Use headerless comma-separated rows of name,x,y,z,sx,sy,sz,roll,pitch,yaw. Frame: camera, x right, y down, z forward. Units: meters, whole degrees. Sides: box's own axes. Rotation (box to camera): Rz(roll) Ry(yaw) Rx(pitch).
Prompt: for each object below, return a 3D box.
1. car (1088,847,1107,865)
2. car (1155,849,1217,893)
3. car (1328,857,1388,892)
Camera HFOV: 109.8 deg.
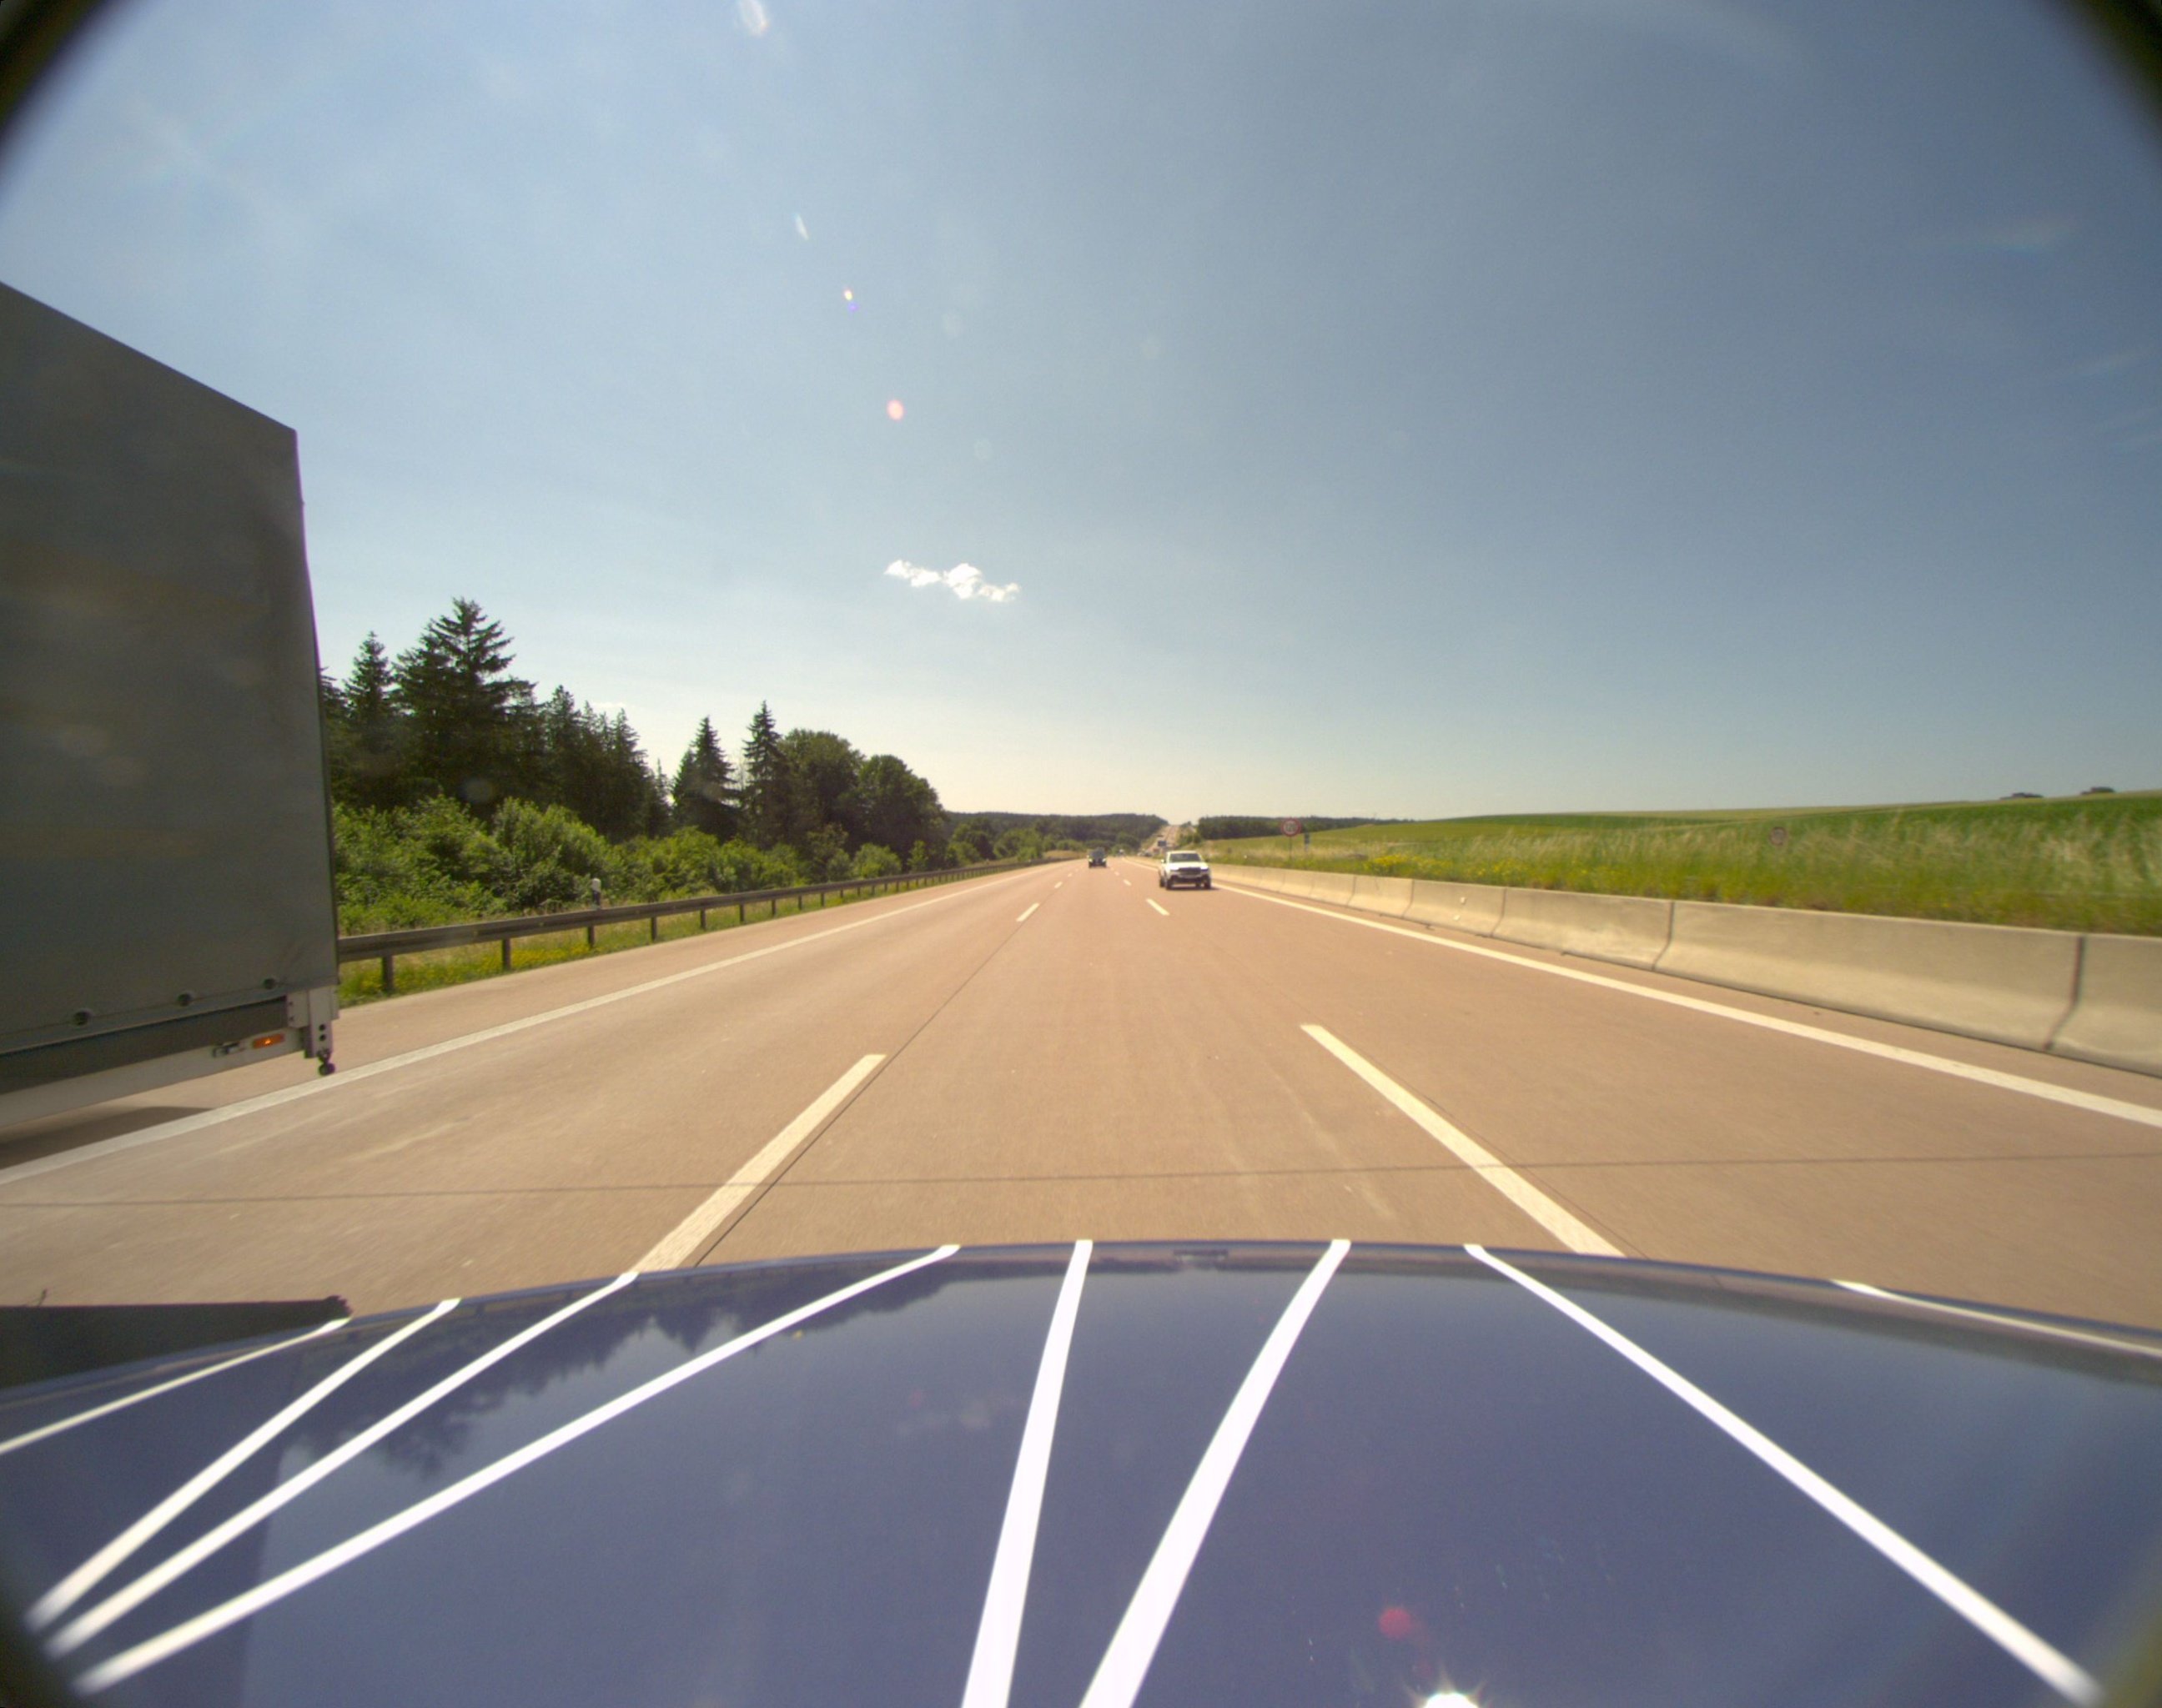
car,1.831,0.217,83.310,1.998,1.805,4.564,-2,0,1
car,4.236,0.624,31.358,1.883,1.598,4.833,-2,1,1
car,15.838,1.112,43.656,1.998,1.788,3.999,-2,1,1
